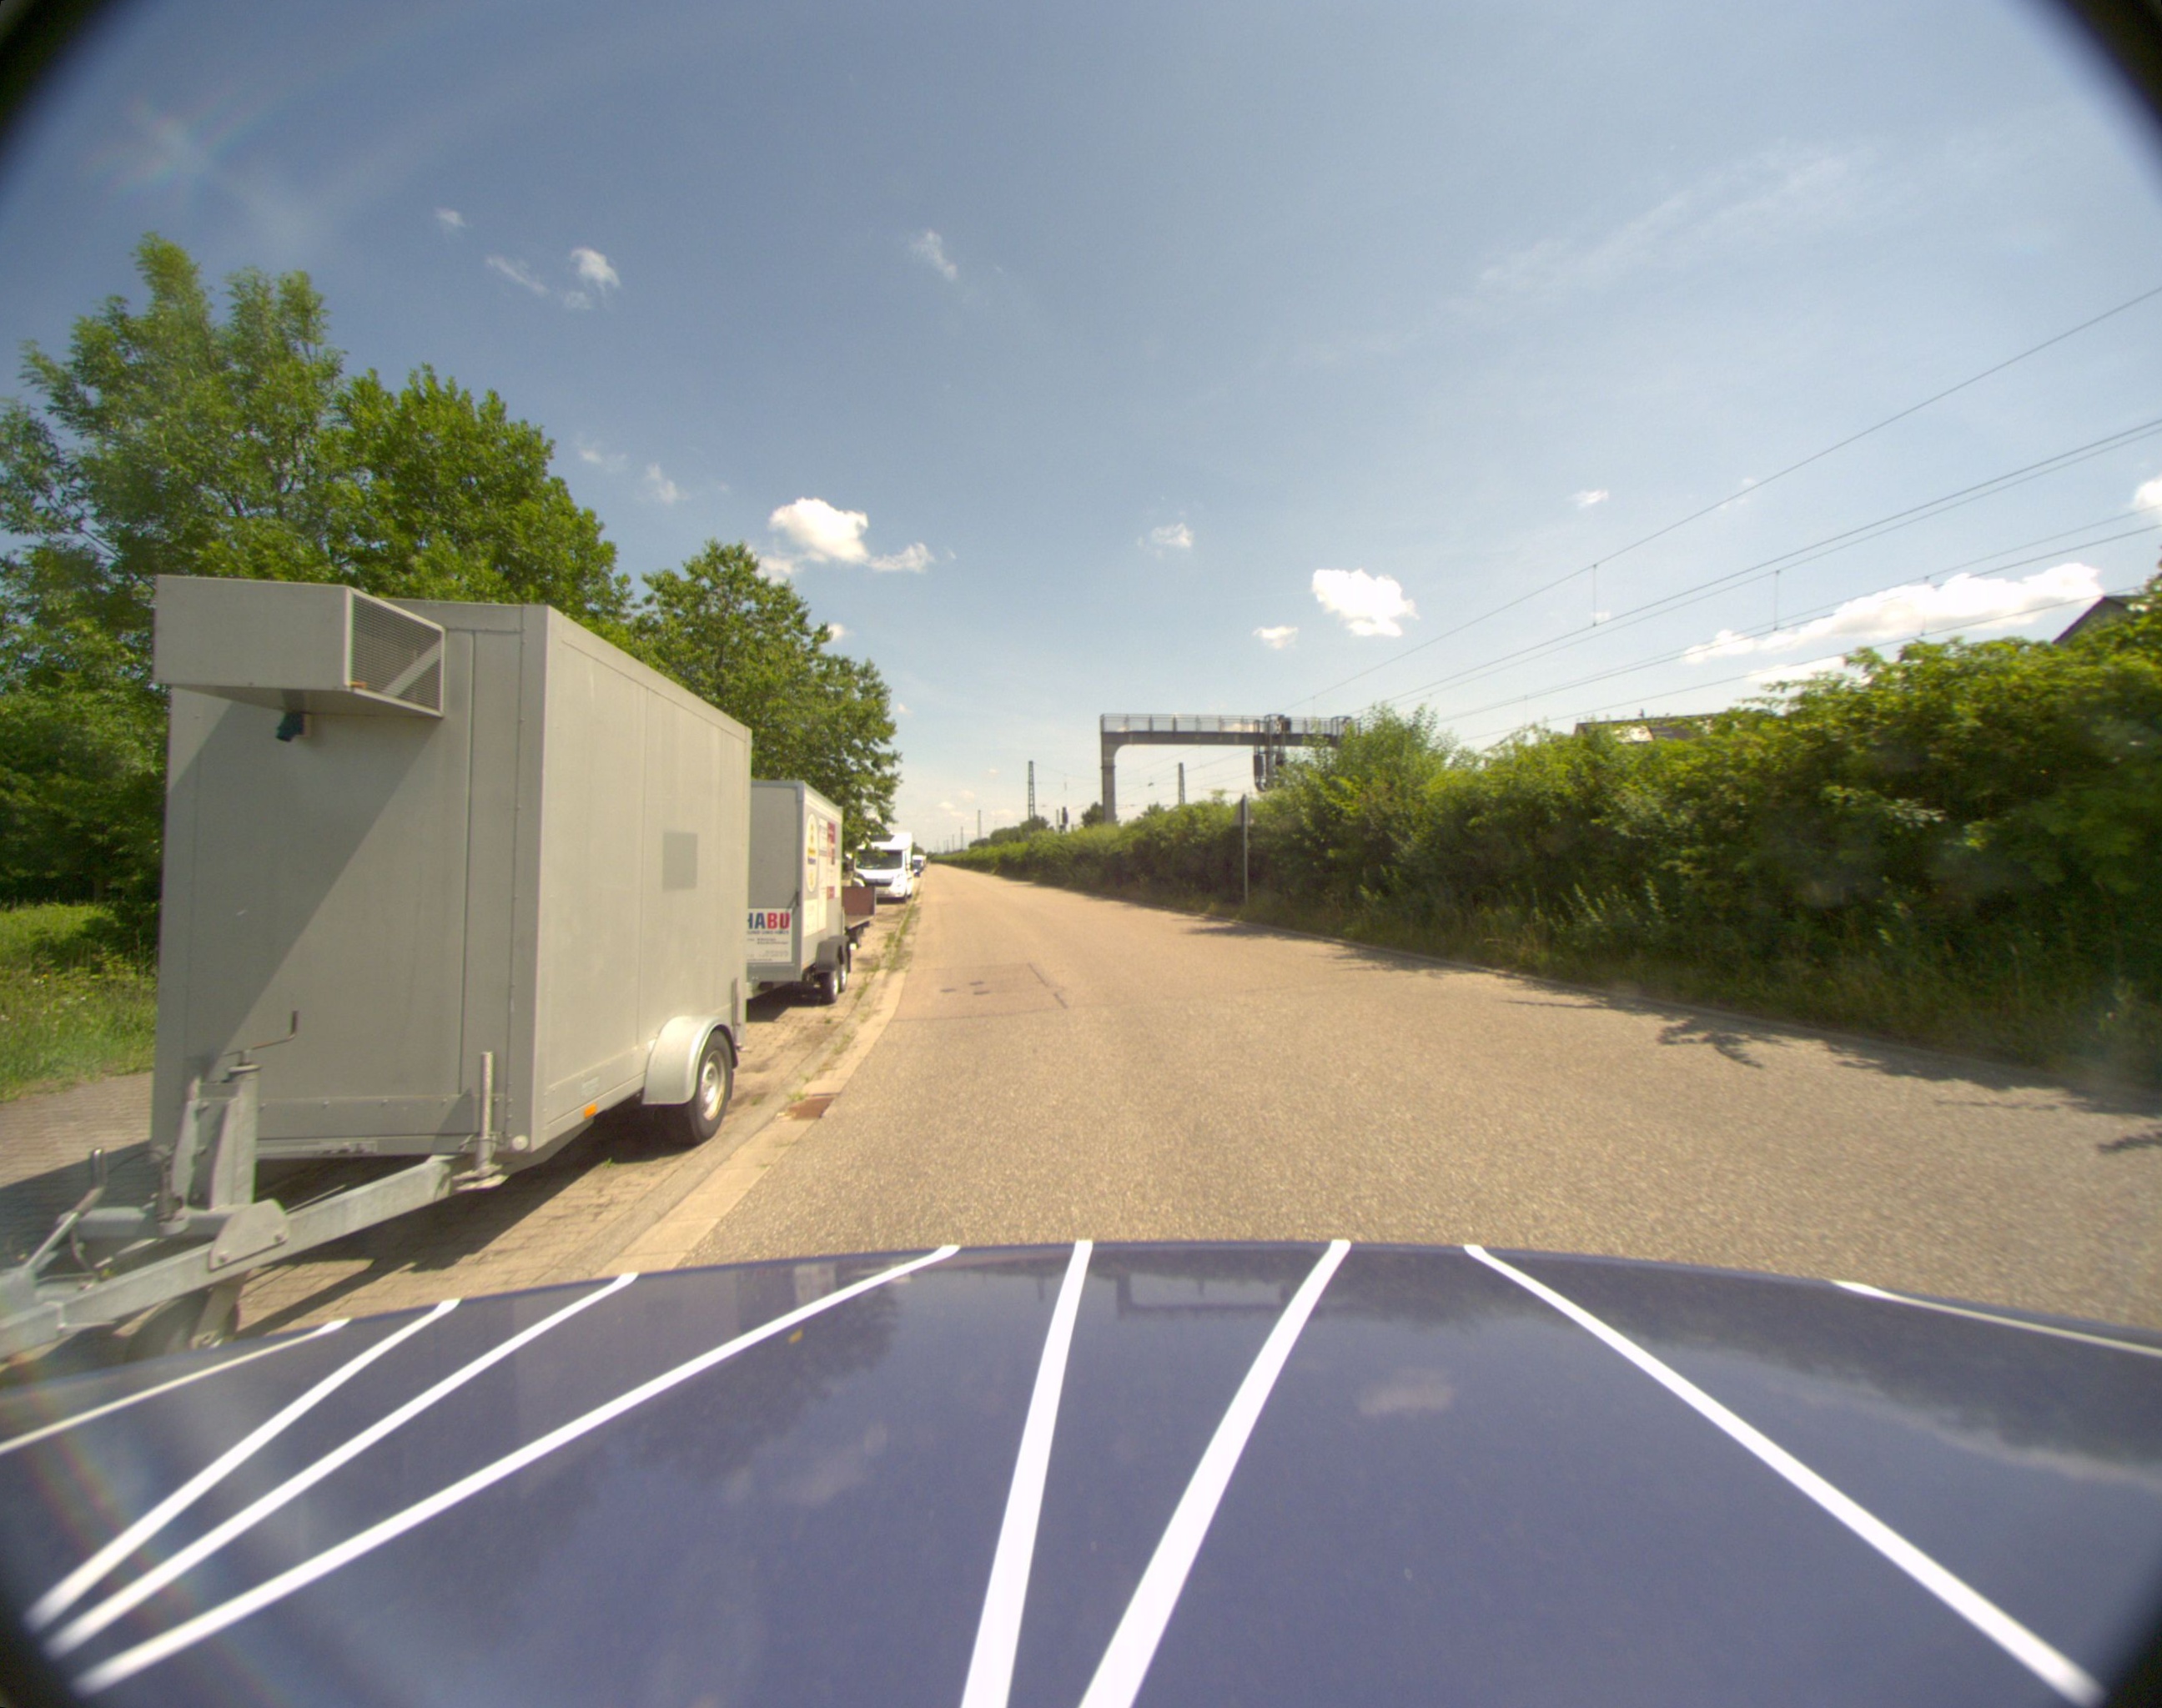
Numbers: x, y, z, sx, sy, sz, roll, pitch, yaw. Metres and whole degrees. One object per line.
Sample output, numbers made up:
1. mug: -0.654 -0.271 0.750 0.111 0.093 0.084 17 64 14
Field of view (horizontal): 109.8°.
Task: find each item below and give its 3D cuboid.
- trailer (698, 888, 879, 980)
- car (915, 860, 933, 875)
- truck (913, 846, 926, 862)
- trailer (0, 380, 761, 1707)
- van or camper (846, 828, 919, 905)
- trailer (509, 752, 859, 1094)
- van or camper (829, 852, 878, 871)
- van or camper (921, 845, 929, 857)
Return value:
1. trailer: -4.891 1.282 13.419 2.011 1.116 4.485 1 0 -8
2. car: -16.019 1.396 77.606 1.768 1.463 4.713 0 0 -11
3. truck: -26.570 0.079 125.151 2.000 2.550 5.284 -1 0 -10
4. trailer: -3.145 0.428 2.983 1.939 2.628 5.181 1 0 -5
5. van or camper: -8.116 0.474 31.756 2.447 2.810 7.616 0 0 -11
6. trailer: -3.628 0.538 8.040 1.925 2.493 4.736 1 0 -11
7. van or camper: -30.348 1.050 101.518 5.837 2.423 2.134 -1 0 -1
8. van or camper: -45.626 -0.867 222.236 2.335 3.497 4.765 -3 1 -11
